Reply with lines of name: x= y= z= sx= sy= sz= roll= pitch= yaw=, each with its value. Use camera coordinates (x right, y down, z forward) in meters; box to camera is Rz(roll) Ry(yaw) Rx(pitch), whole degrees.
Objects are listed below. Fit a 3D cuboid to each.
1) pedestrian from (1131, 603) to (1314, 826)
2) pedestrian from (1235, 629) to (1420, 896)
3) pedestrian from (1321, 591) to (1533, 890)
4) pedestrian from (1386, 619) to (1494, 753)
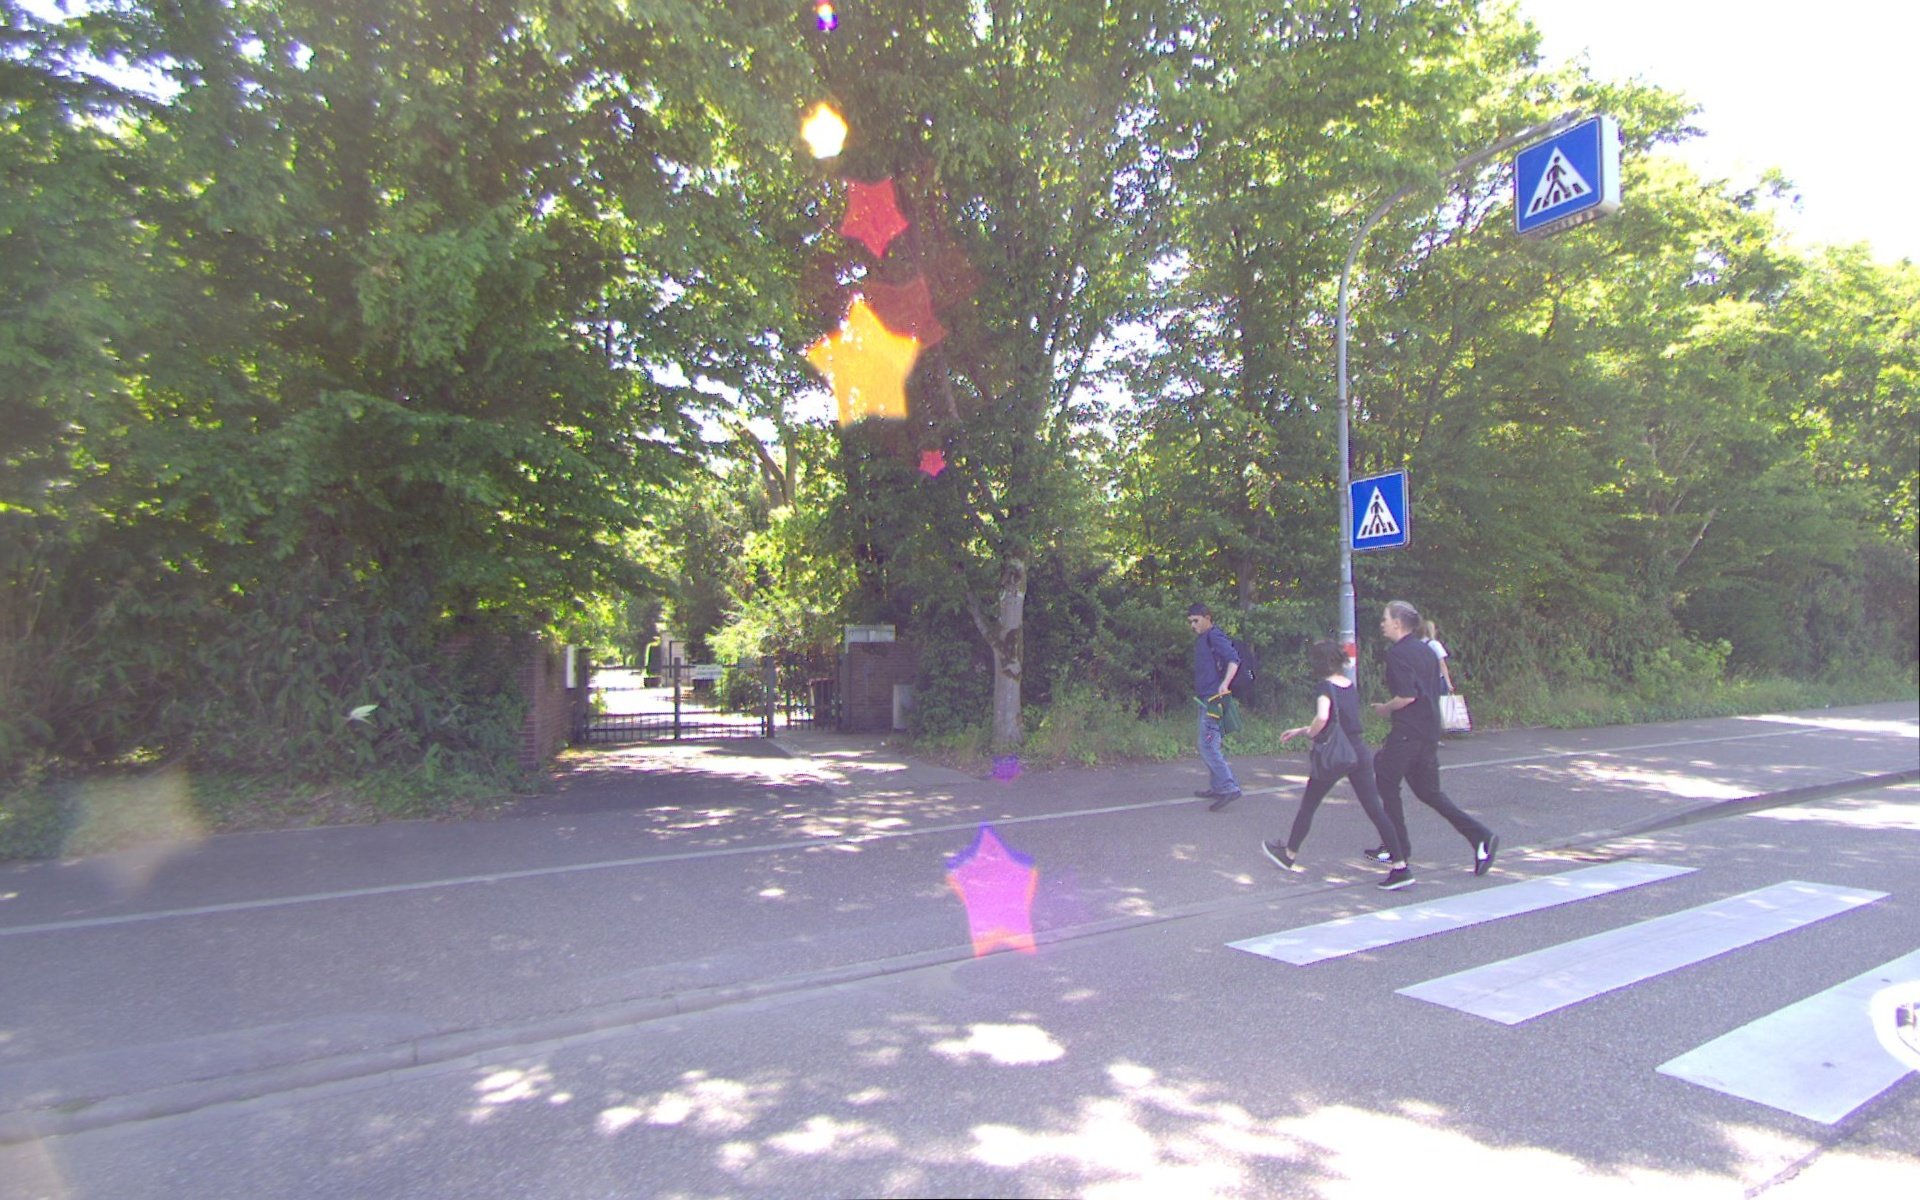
pedestrian: x=2.315 y=0.940 z=8.935 sx=1.012 sy=1.775 sz=1.148 roll=1 pitch=2 yaw=-34
pedestrian: x=2.464 y=1.028 z=6.775 sx=0.774 sy=1.632 sz=0.887 roll=2 pitch=-4 yaw=-38
pedestrian: x=3.253 y=0.927 z=7.046 sx=0.777 sy=1.888 sz=1.075 roll=2 pitch=-4 yaw=-38
pedestrian: x=6.158 y=1.062 z=12.908 sx=0.875 sy=1.634 sz=0.927 roll=1 pitch=-1 yaw=-31
